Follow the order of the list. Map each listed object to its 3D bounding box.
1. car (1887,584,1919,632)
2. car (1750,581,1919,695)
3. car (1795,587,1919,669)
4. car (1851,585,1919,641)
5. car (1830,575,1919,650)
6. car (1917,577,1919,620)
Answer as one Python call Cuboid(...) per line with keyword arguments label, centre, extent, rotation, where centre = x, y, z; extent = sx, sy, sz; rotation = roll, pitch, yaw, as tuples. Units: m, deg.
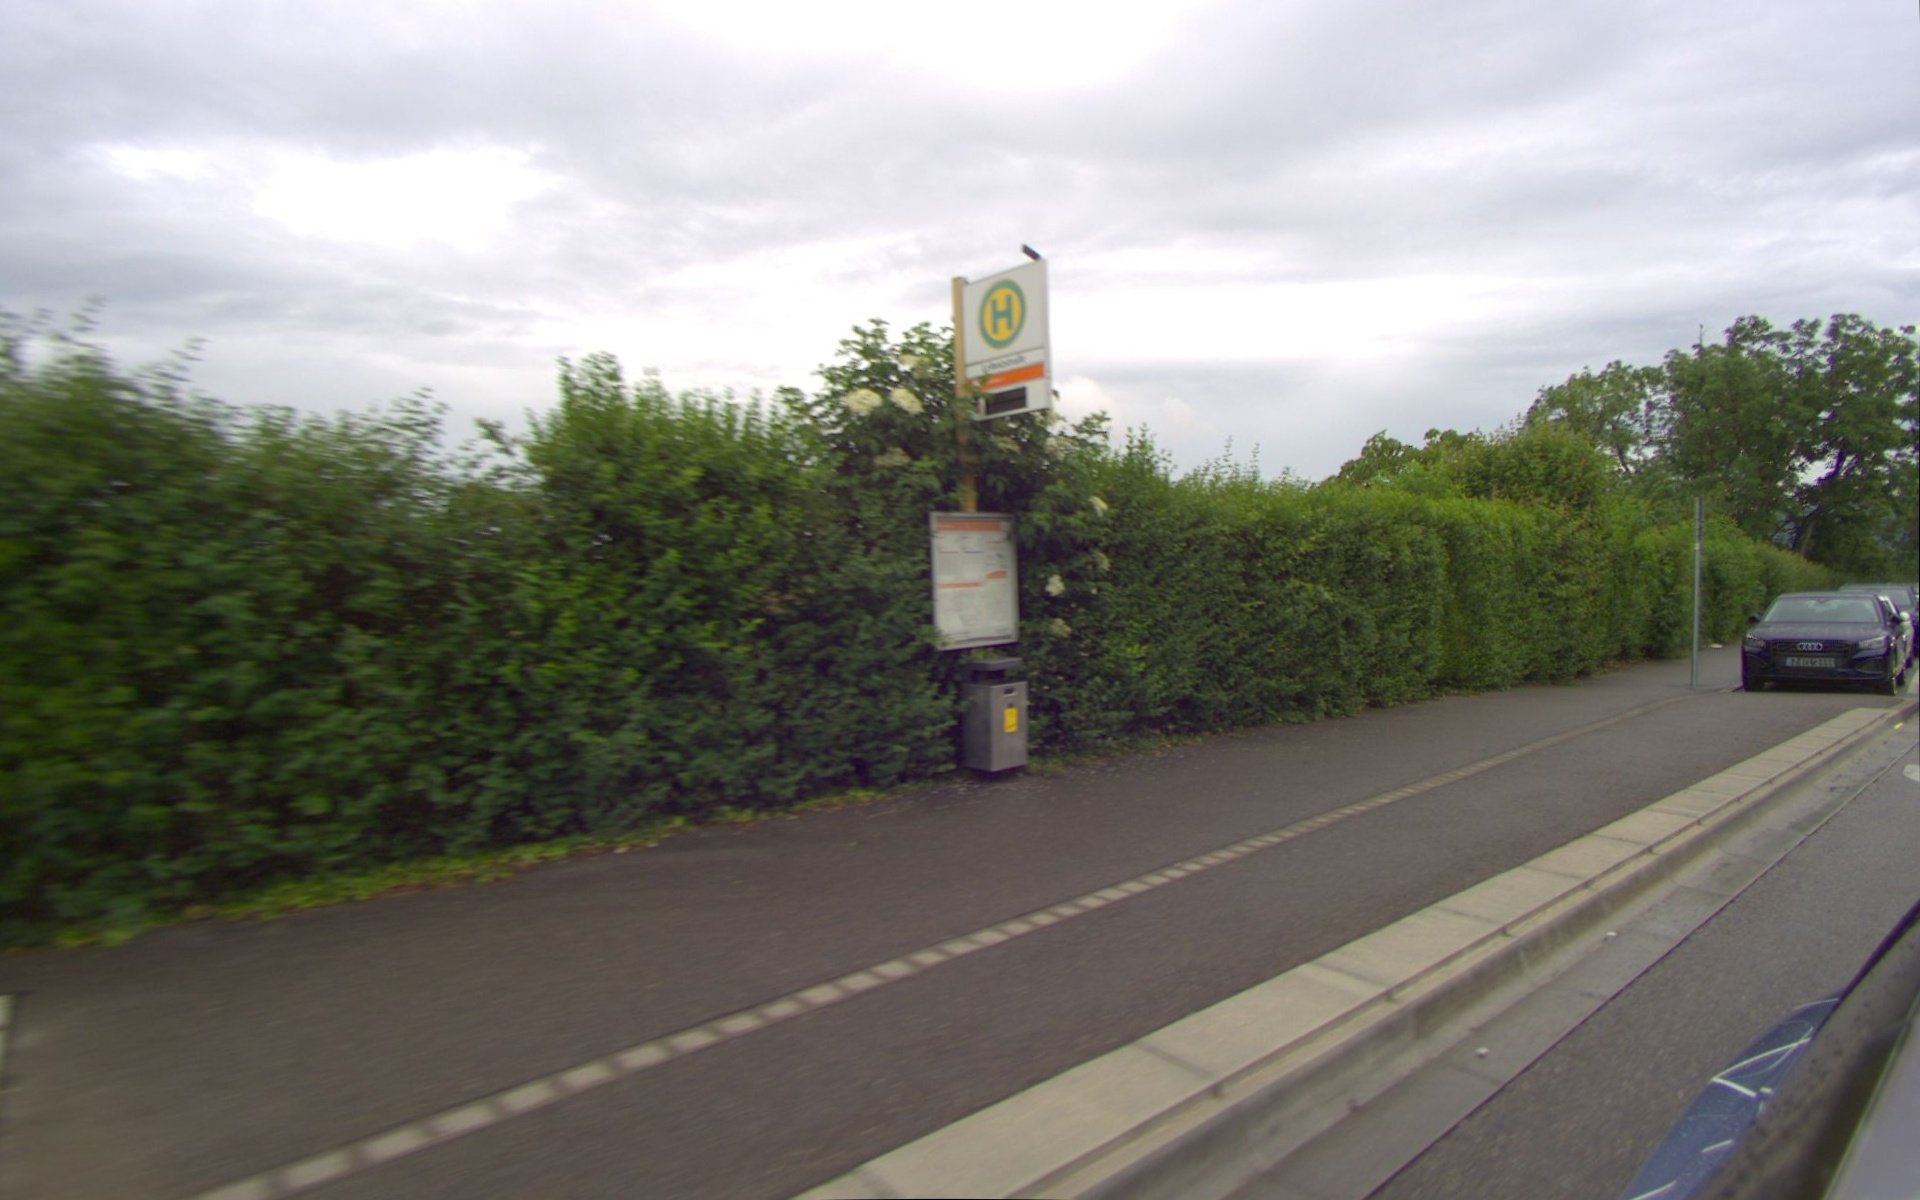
Cuboid(label="car", centre=(31.264, 0.239, 32.637), extent=(3.916, 1.439, 1.691), rotation=(-1, 2, -43))
Cuboid(label="car", centre=(13.852, 0.488, 15.906), extent=(4.137, 1.549, 1.755), rotation=(-1, 1, -45))
Cuboid(label="car", centre=(17.786, 0.478, 19.857), extent=(4.532, 1.423, 1.714), rotation=(0, 0, -45))
Cuboid(label="car", centre=(26.531, 0.327, 28.224), extent=(1.791, 1.458, 4.589), rotation=(1, 1, 32))
Cuboid(label="car", centre=(22.812, 0.275, 24.865), extent=(1.888, 1.684, 4.474), rotation=(0, 0, 45))
Cuboid(label="car", centre=(43.740, -0.040, 44.266), extent=(4.718, 1.972, 1.866), rotation=(1, 3, -37))
